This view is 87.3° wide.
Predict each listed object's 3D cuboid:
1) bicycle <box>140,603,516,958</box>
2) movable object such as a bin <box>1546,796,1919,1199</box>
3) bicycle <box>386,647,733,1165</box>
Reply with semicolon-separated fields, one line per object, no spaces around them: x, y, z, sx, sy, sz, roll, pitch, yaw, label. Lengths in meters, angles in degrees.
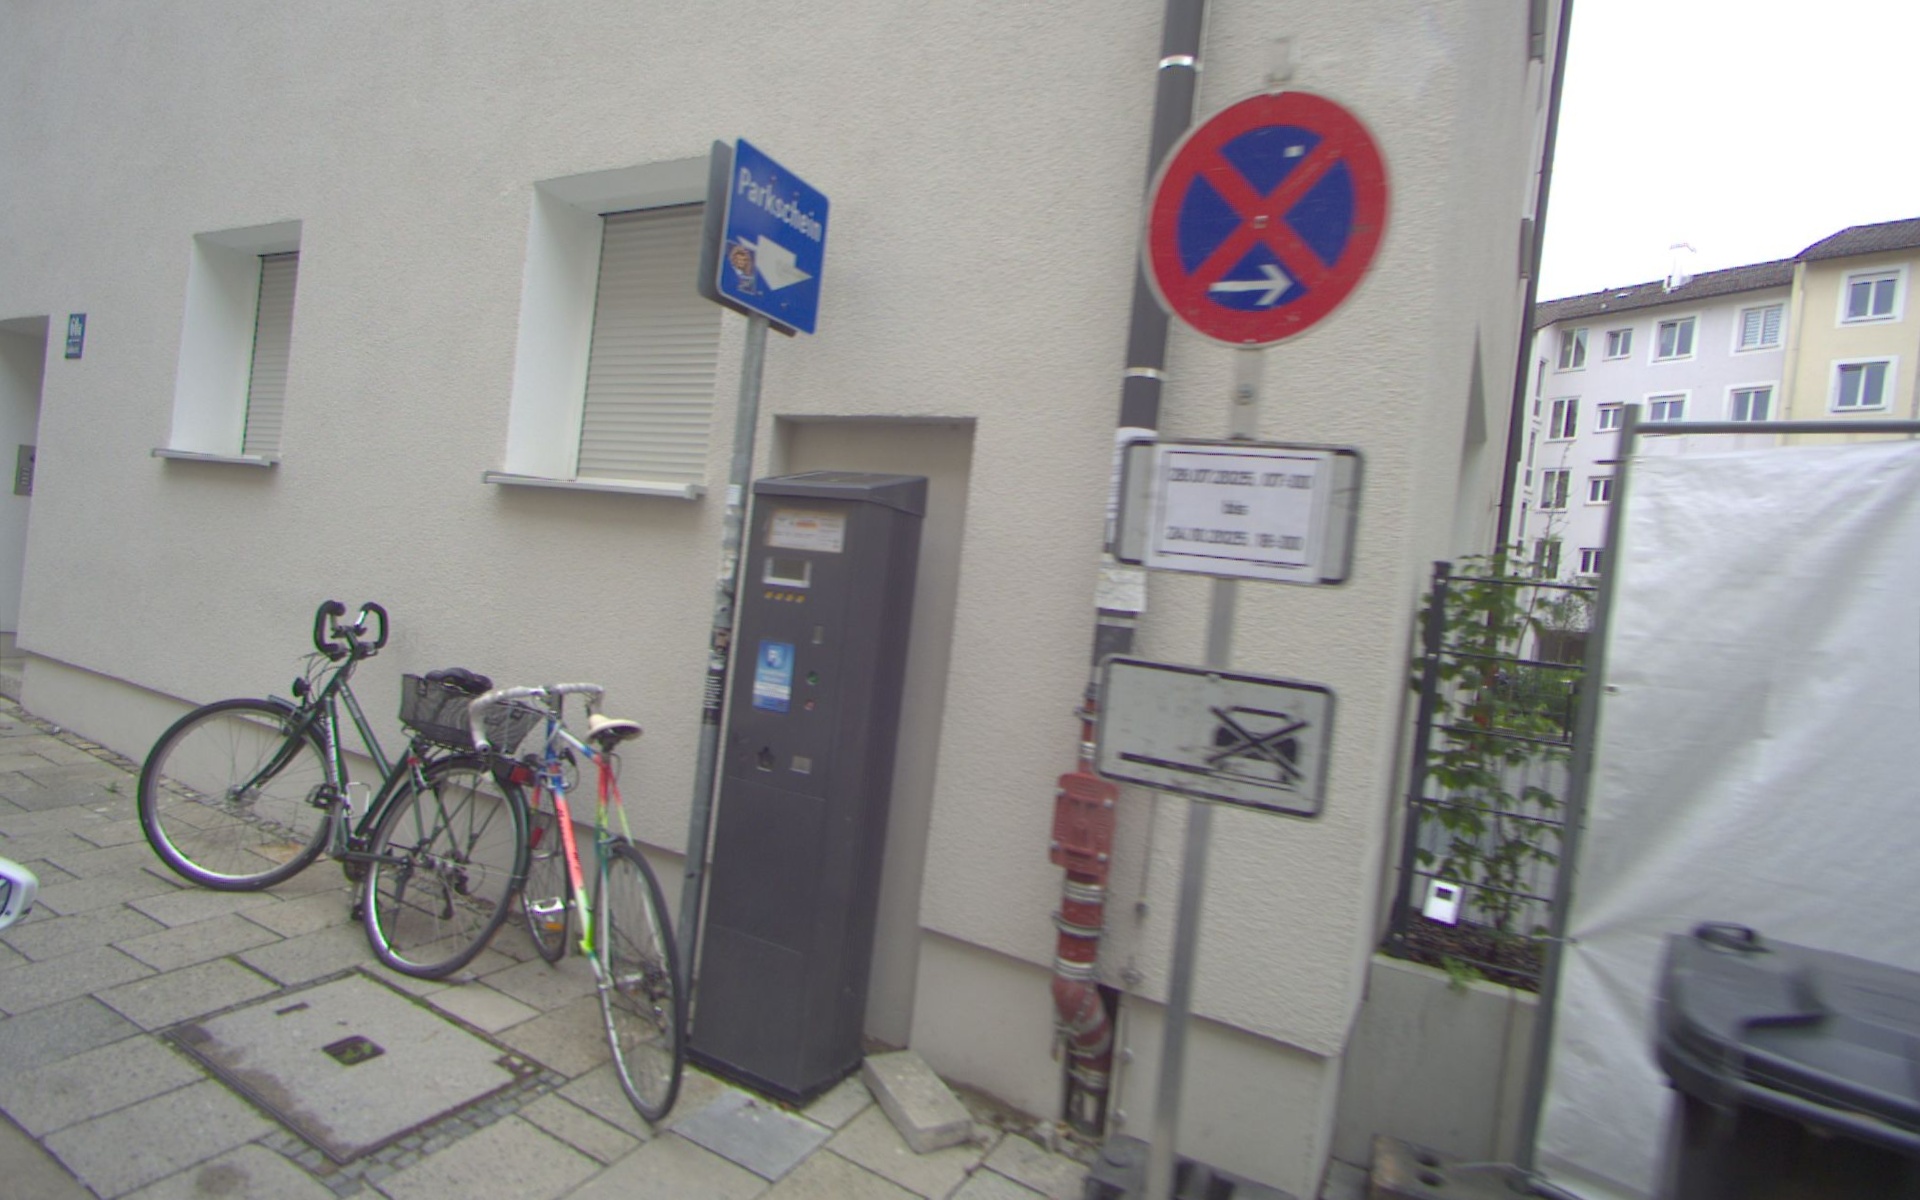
-2.279;0.579;3.607;1.304;1.005;0.404;6;4;20;bicycle
1.329;0.997;1.440;0.777;1.111;1.209;8;5;37;movable object such as a bin
-1.203;0.725;2.846;1.413;1.005;0.280;8;5;42;bicycle
